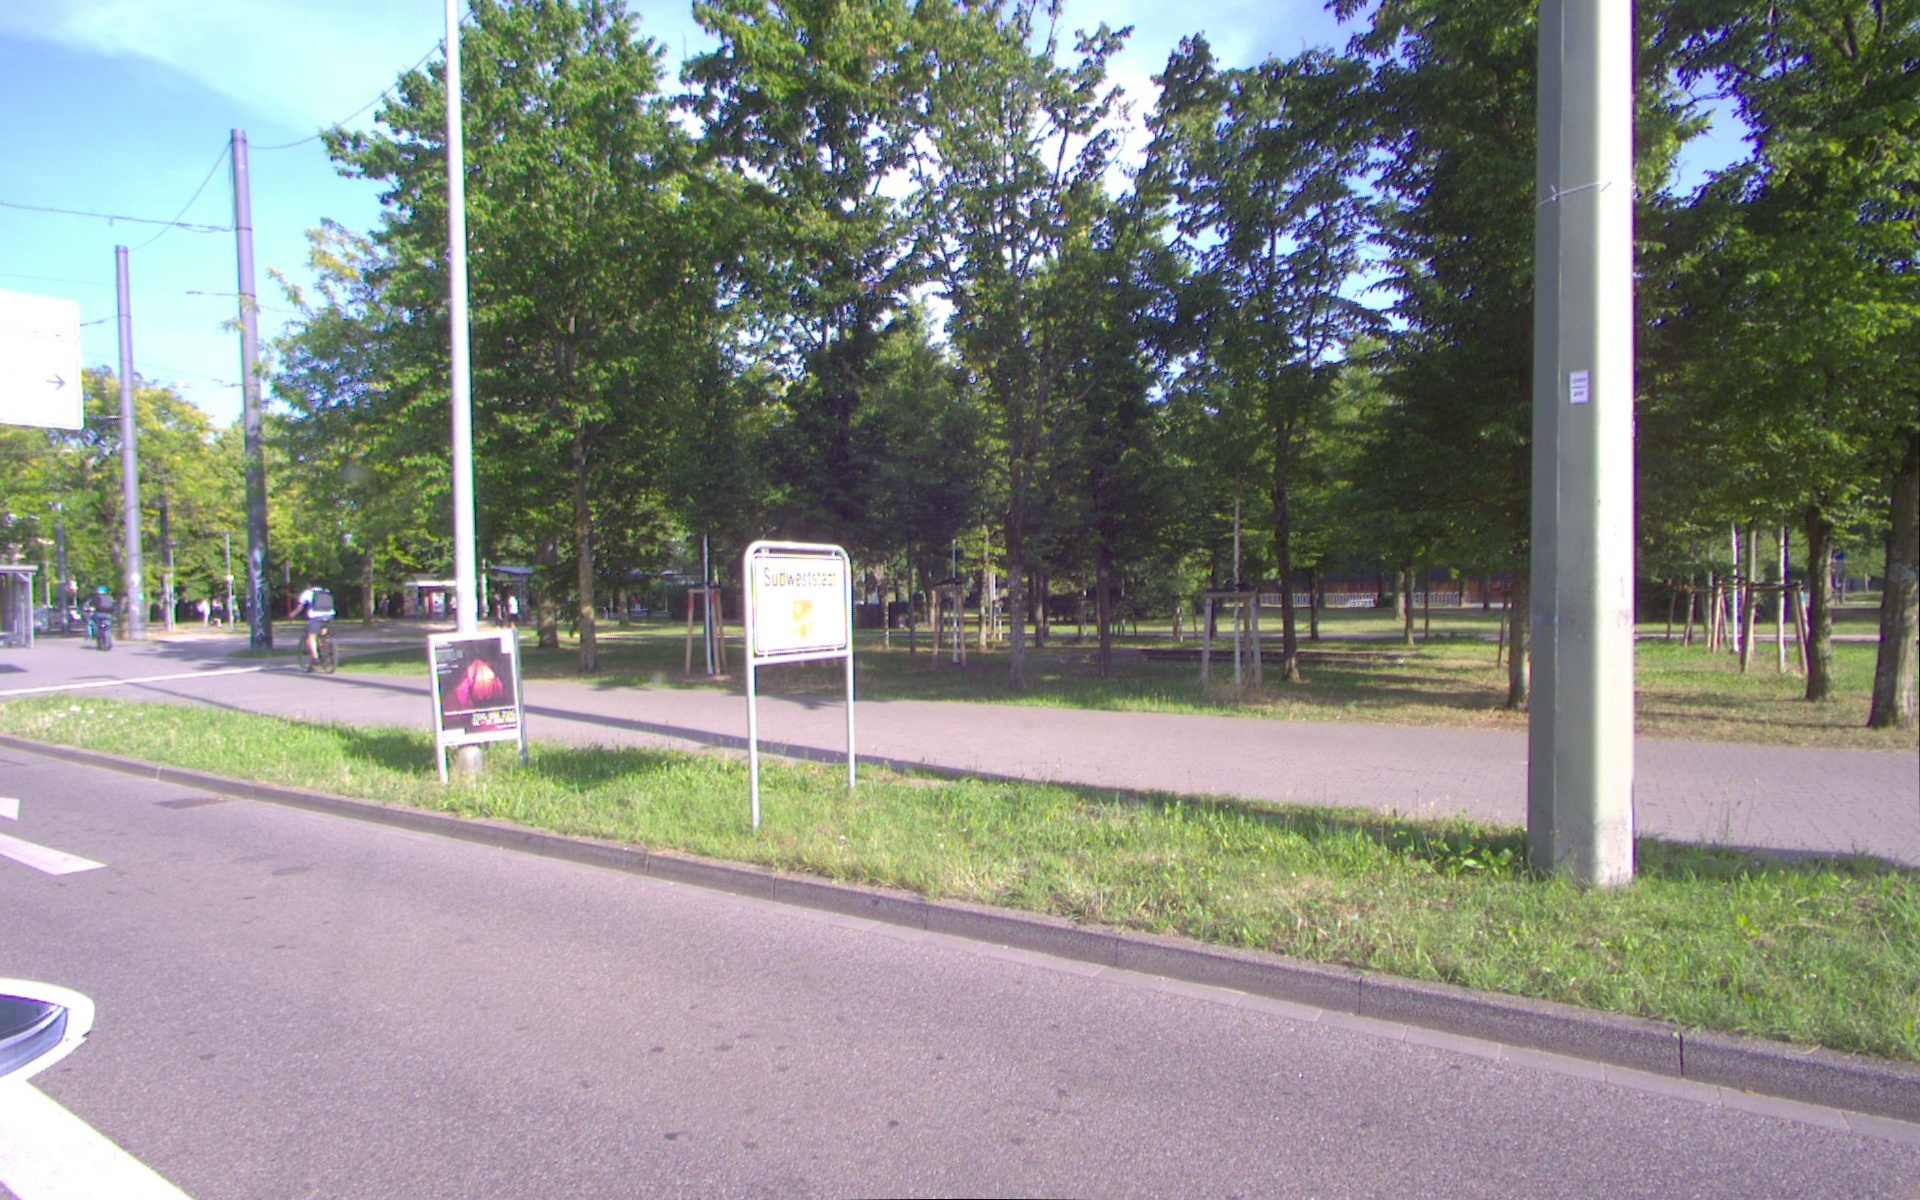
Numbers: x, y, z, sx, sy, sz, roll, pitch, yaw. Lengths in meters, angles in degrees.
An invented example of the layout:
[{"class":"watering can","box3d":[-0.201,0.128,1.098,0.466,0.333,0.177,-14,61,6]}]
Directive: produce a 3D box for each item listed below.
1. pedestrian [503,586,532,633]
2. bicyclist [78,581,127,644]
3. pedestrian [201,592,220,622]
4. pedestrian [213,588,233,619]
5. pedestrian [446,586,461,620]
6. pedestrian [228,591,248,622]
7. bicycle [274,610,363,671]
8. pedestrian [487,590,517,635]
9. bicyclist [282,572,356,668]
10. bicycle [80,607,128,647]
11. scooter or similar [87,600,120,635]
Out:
[{"class":"pedestrian","box3d":[-18.180,0.413,41.158,0.864,1.922,0.672,0,-1,19]},{"class":"bicyclist","box3d":[-24.948,0.365,29.132,1.125,1.770,0.717,0,4,36]},{"class":"pedestrian","box3d":[-41.758,0.380,55.789,0.681,1.632,0.639,0,1,32]},{"class":"pedestrian","box3d":[-40.907,0.176,55.574,0.681,1.688,0.639,0,1,32]},{"class":"pedestrian","box3d":[-28.256,0.185,55.862,0.594,1.891,0.462,0,-1,2]},{"class":"pedestrian","box3d":[-39.794,0.358,55.172,0.681,1.688,0.639,0,1,32]},{"class":"bicycle","box3d":[-12.428,0.770,19.380,1.912,1.103,0.639,-1,3,32]},{"class":"pedestrian","box3d":[-18.427,0.505,40.319,0.865,1.800,0.672,0,-1,21]},{"class":"bicyclist","box3d":[-12.356,0.384,19.301,1.123,1.770,0.647,-1,4,31]},{"class":"bicycle","box3d":[-25.022,0.772,29.266,1.711,1.103,0.638,0,3,36]},{"class":"scooter or similar","box3d":[-31.430,0.642,36.749,1.115,1.248,0.351,0,1,18]}]
